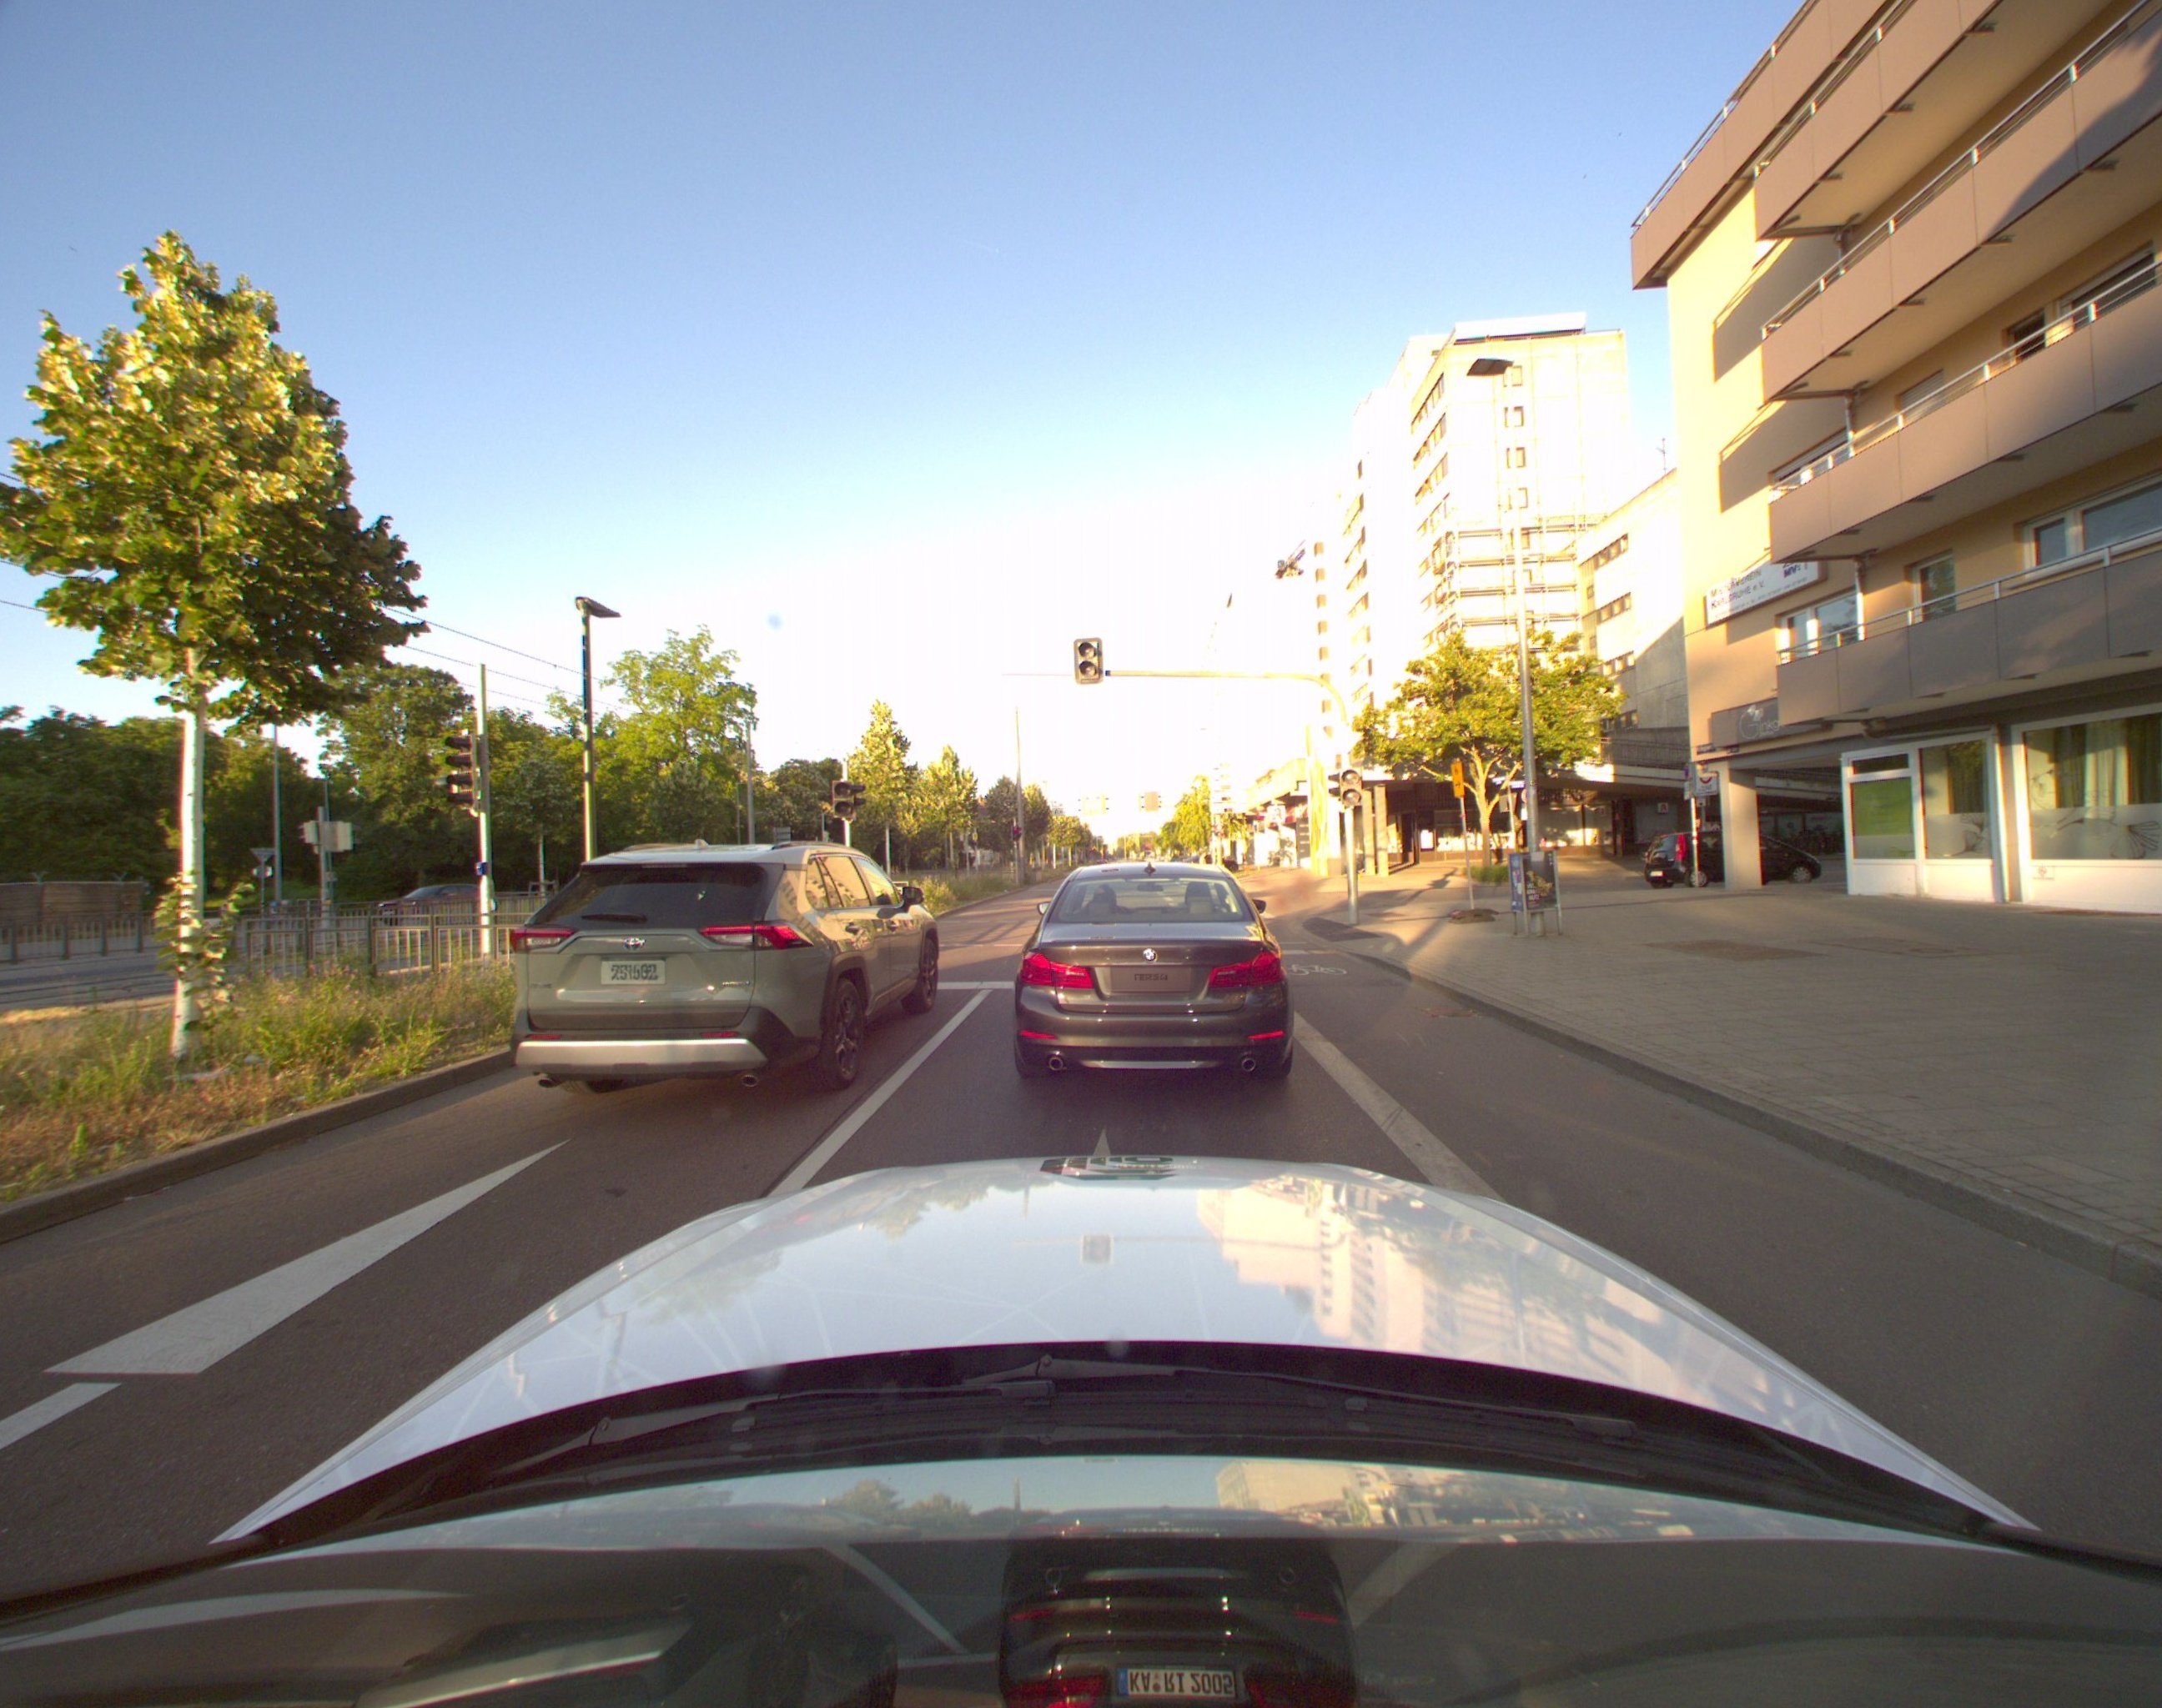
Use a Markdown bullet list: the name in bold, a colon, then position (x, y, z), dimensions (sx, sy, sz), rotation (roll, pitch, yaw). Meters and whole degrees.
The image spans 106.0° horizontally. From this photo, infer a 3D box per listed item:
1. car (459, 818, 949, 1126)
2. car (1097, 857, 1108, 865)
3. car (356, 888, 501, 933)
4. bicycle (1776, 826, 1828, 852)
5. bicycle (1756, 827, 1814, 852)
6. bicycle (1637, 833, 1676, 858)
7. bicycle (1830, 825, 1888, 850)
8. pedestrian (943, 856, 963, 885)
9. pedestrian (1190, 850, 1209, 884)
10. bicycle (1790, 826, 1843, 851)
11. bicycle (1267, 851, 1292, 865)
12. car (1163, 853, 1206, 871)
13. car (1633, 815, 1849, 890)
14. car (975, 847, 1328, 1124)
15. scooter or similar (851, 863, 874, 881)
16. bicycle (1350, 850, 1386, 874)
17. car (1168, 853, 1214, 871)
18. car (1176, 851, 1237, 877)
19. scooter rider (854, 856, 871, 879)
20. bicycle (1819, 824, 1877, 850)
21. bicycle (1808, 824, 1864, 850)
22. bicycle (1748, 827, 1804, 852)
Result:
- **car**: position (-2.411, 0.616, 6.599), dimensions (1.848, 1.658, 4.270), rotation (-1, 1, 1)
- **car**: position (3.914, 1.242, 147.077), dimensions (1.971, 1.433, 4.846), rotation (-1, 1, 2)
- **car**: position (-26.730, 2.271, 33.607), dimensions (1.983, 1.481, 4.531), rotation (-1, 1, 6)
- **bicycle**: position (32.898, -0.666, 37.178), dimensions (0.579, 1.075, 1.976), rotation (1, -1, -1)
- **bicycle**: position (32.301, -0.650, 37.396), dimensions (0.583, 1.075, 1.963), rotation (1, -1, -21)
- **bicycle**: position (26.983, -0.390, 38.225), dimensions (0.578, 1.075, 1.980), rotation (1, -1, 5)
- **bicycle**: position (35.289, -0.728, 36.981), dimensions (0.580, 1.075, 1.971), rotation (1, -1, -9)
- **pedestrian**: position (-7.227, 0.950, 45.998), dimensions (0.829, 1.586, 0.815), rotation (-3, -1, 13)
- **pedestrian**: position (6.175, 0.671, 42.313), dimensions (0.832, 1.712, 0.648), rotation (-2, -1, 1)
- **bicycle**: position (33.458, -0.701, 37.080), dimensions (0.579, 1.075, 1.976), rotation (1, -1, -1)
- **bicycle**: position (16.768, 0.376, 68.737), dimensions (2.005, 1.149, 0.692), rotation (0, -1, 8)
- **car**: position (10.814, 0.818, 85.074), dimensions (4.284, 1.658, 1.841), rotation (-2, 1, -33)
- **car**: position (17.177, 0.002, 21.385), dimensions (4.020, 1.585, 1.708), rotation (-4, -4, 6)
- **car**: position (0.514, 0.716, 6.771), dimensions (1.924, 1.481, 4.526), rotation (-1, 1, 3)
- **scooter or similar**: position (-14.314, 1.181, 53.450), dimensions (1.322, 1.153, 0.514), rotation (-3, -1, 7)
- **bicycle**: position (14.483, 0.423, 41.143), dimensions (0.690, 1.149, 2.012), rotation (1, -1, -16)
- **car**: position (10.673, 0.762, 79.053), dimensions (4.285, 1.658, 1.841), rotation (-2, 1, -34)
- **car**: position (8.733, 0.639, 56.454), dimensions (4.291, 1.658, 1.839), rotation (-2, 1, -40)
- **scooter rider**: position (-14.330, 0.887, 53.483), dimensions (0.816, 1.514, 0.654), rotation (-3, -1, 7)
- **bicycle**: position (34.662, -0.751, 36.825), dimensions (0.580, 1.075, 1.971), rotation (1, -1, -9)
- **bicycle**: position (34.047, -0.751, 36.756), dimensions (0.579, 1.075, 1.974), rotation (1, -1, -4)
- **bicycle**: position (31.824, -0.634, 37.338), dimensions (0.582, 1.075, 1.966), rotation (1, -1, -17)
